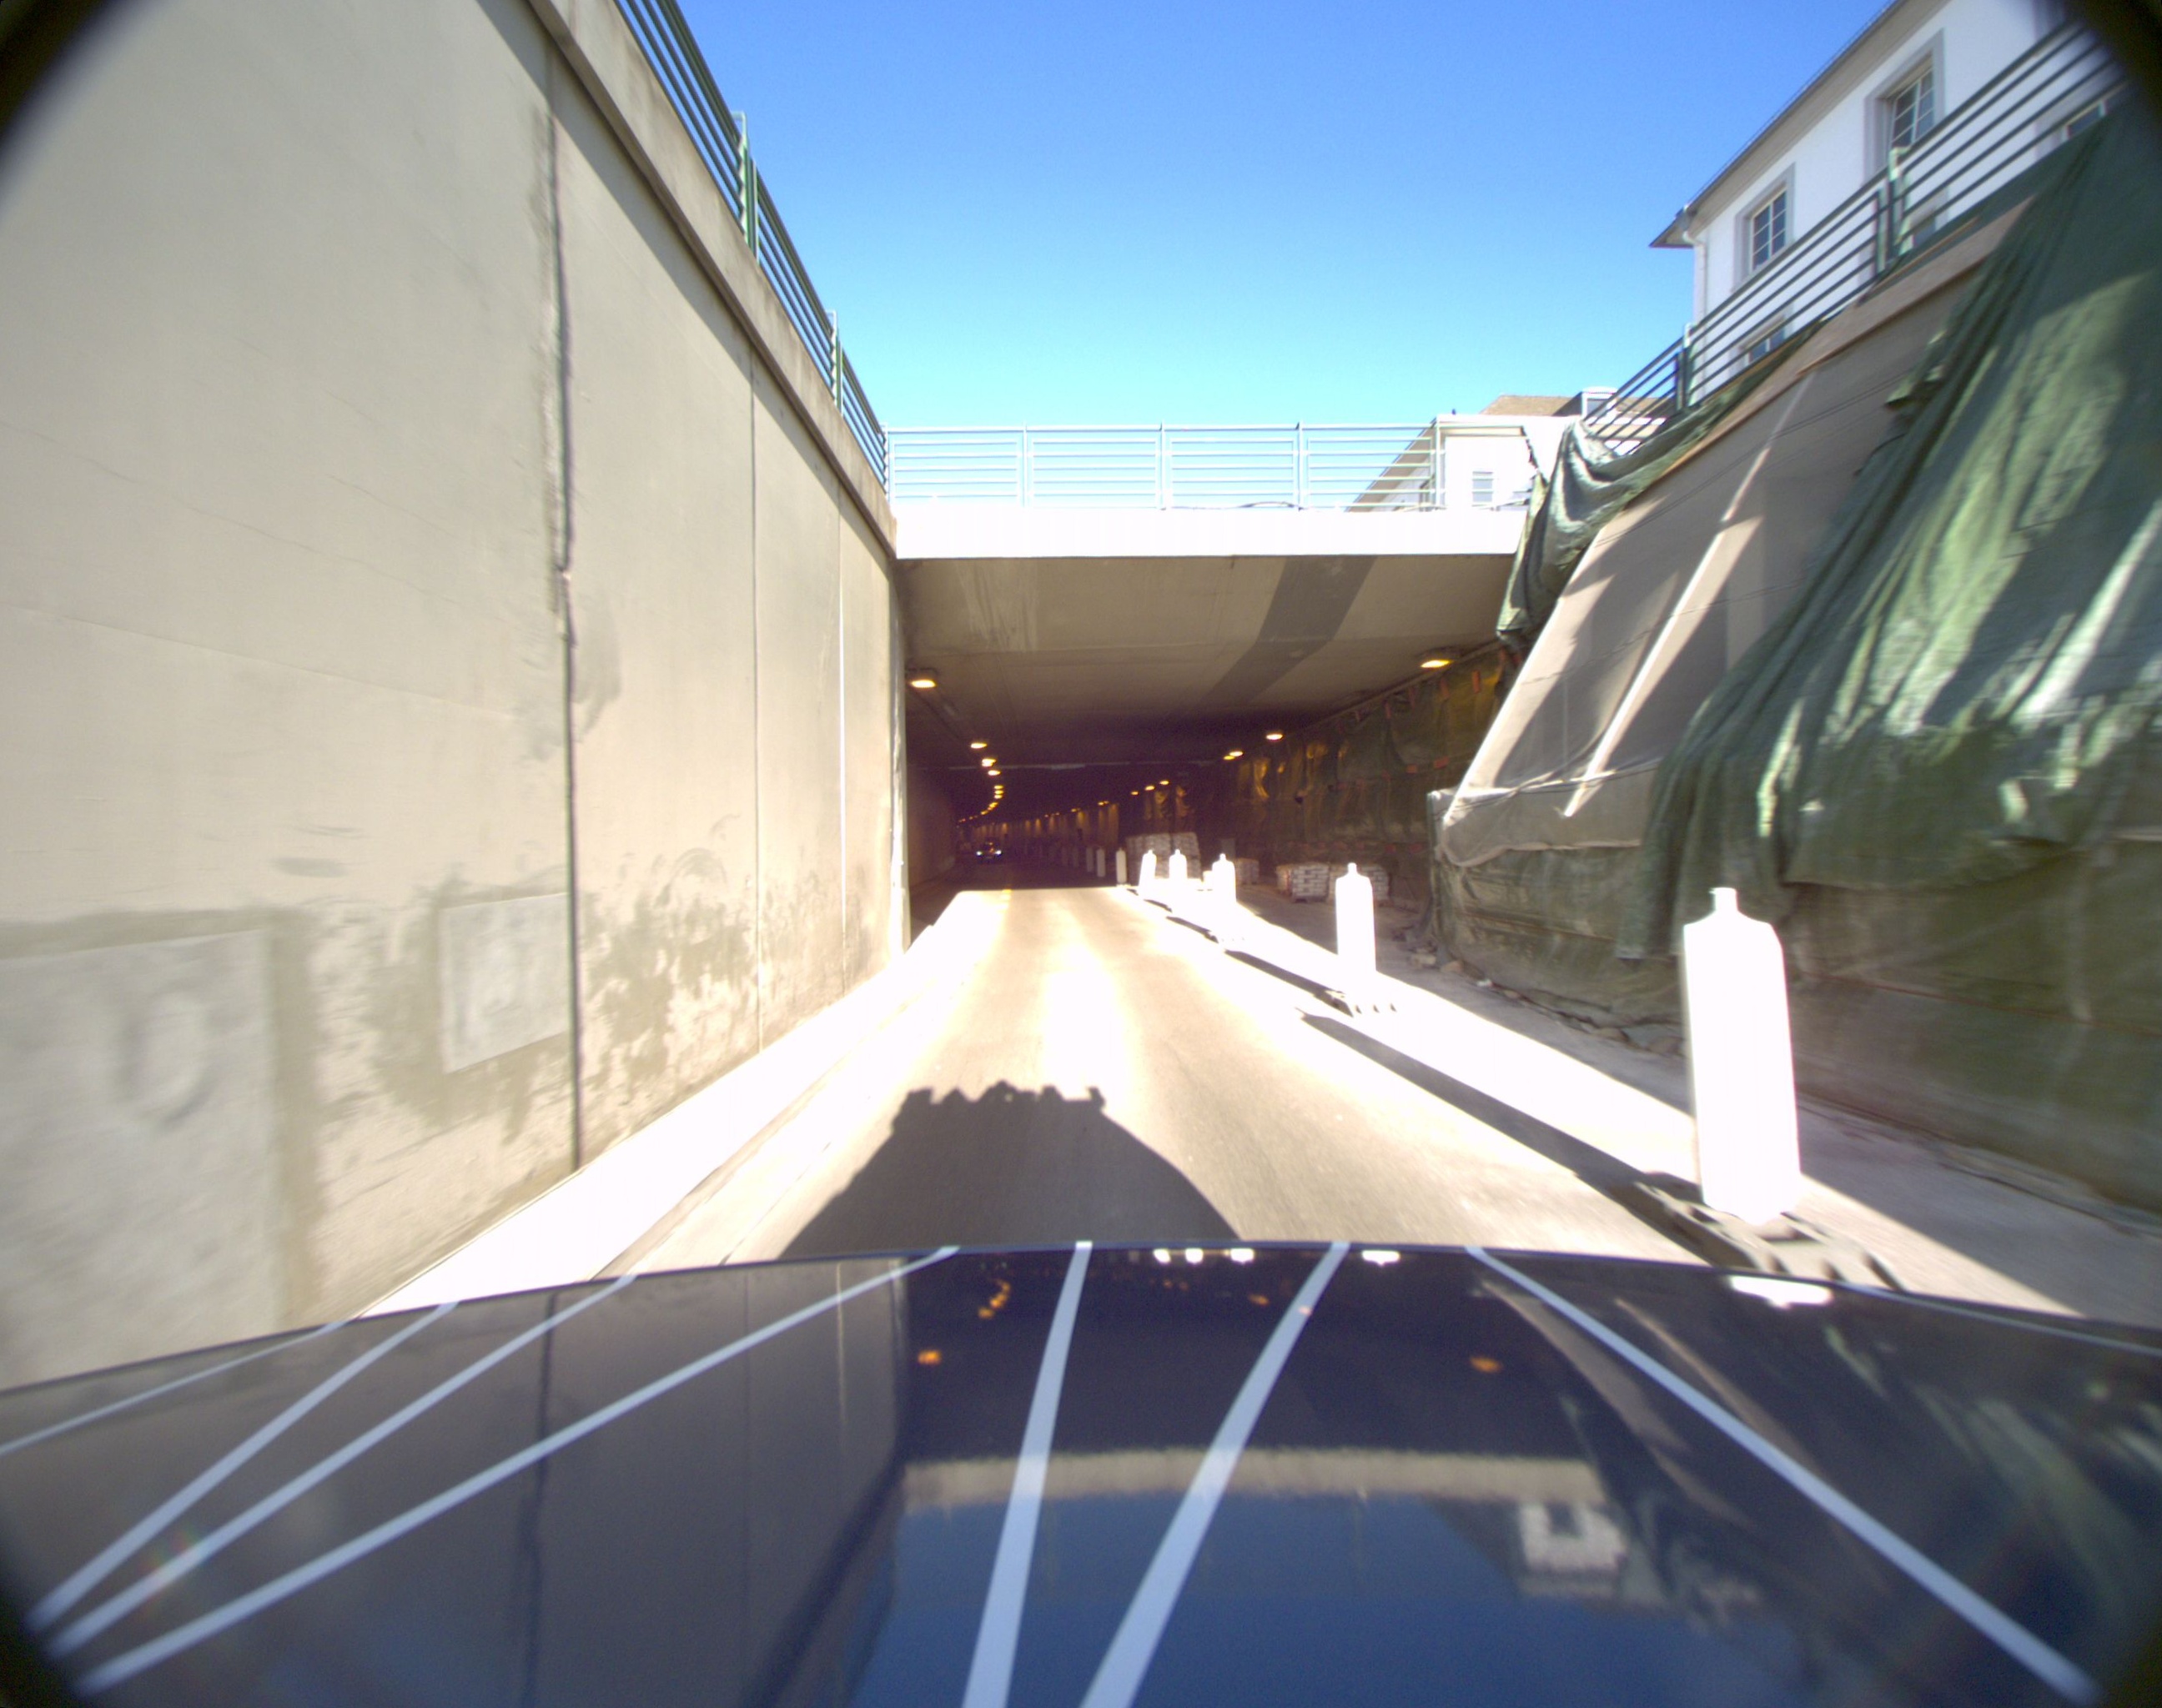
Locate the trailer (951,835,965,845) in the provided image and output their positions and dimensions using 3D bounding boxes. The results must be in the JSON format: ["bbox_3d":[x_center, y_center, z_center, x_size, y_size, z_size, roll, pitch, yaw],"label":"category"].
[{"bbox_3d":[-21.559,-2.459,133.056,1.646,1.781,3.115,-3,3,-24],"label":"trailer"}]

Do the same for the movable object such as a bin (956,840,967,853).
[{"bbox_3d":[-13.740,-0.912,87.203,1.102,1.437,1.320,-2,3,-15],"label":"movable object such as a bin"}]

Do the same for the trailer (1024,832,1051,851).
[{"bbox_3d":[-4.835,-1.368,84.355,2.216,2.003,3.460,-2,2,-16],"label":"trailer"}]

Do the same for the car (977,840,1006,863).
[{"bbox_3d":[-6.726,-0.215,56.812,1.898,1.537,4.235,-2,2,-9],"label":"car"}]
